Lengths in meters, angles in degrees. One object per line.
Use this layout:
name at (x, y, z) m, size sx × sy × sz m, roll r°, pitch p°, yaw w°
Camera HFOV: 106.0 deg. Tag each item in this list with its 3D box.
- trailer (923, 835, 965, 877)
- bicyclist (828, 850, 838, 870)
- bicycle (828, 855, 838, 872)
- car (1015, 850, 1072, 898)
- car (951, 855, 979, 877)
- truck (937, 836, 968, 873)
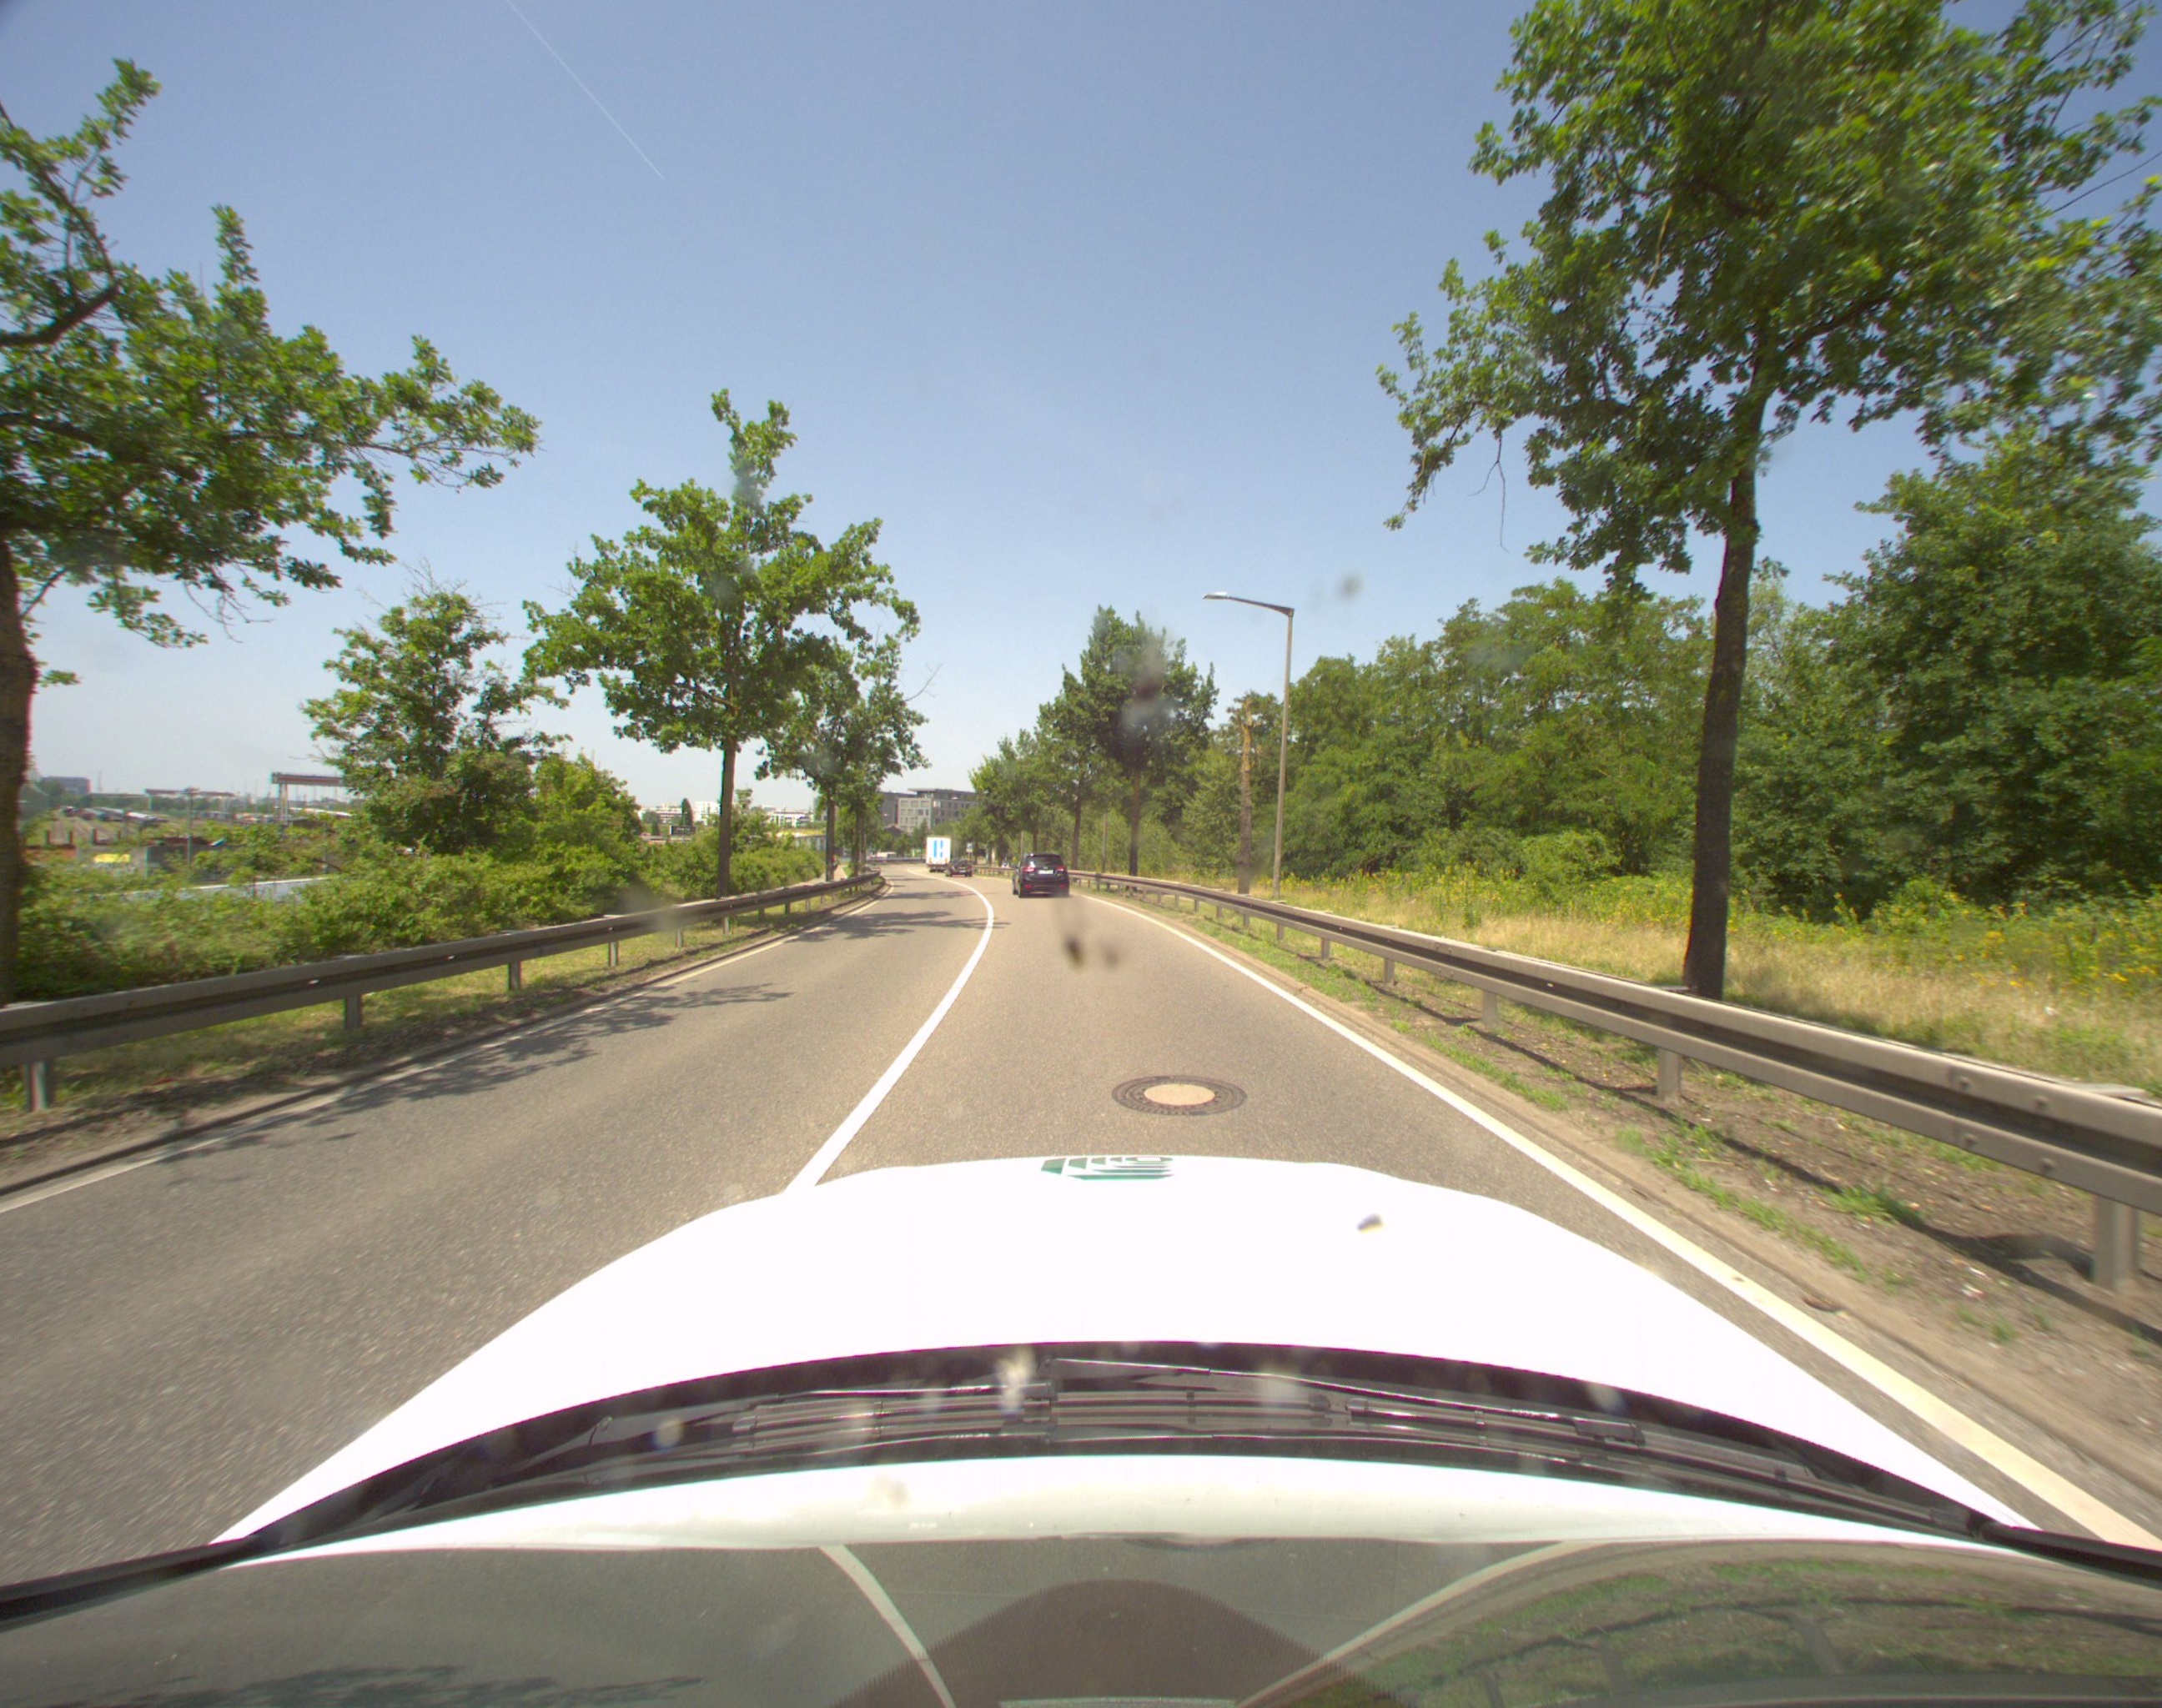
trailer at (-15.703, 0.120, 94.378) m, size 3.071 × 4.368 × 14.758 m, roll 2°, pitch 1°, yaw -3°
bicyclist at (-18.750, 0.468, 61.588) m, size 0.744 × 1.489 × 0.752 m, roll 1°, pitch -1°, yaw -18°
bicycle at (-18.740, 0.691, 61.526) m, size 0.736 × 1.281 × 2.033 m, roll 1°, pitch -1°, yaw -18°
car at (-1.431, 0.675, 29.669) m, size 1.765 × 1.599 × 4.068 m, roll -1°, pitch 0°, yaw -6°
car at (-9.001, 0.920, 62.904) m, size 1.957 × 1.634 × 4.265 m, roll 1°, pitch -1°, yaw -10°
truck at (-16.078, 0.037, 102.443) m, size 3.069 × 4.368 × 6.072 m, roll 2°, pitch 0°, yaw -3°
